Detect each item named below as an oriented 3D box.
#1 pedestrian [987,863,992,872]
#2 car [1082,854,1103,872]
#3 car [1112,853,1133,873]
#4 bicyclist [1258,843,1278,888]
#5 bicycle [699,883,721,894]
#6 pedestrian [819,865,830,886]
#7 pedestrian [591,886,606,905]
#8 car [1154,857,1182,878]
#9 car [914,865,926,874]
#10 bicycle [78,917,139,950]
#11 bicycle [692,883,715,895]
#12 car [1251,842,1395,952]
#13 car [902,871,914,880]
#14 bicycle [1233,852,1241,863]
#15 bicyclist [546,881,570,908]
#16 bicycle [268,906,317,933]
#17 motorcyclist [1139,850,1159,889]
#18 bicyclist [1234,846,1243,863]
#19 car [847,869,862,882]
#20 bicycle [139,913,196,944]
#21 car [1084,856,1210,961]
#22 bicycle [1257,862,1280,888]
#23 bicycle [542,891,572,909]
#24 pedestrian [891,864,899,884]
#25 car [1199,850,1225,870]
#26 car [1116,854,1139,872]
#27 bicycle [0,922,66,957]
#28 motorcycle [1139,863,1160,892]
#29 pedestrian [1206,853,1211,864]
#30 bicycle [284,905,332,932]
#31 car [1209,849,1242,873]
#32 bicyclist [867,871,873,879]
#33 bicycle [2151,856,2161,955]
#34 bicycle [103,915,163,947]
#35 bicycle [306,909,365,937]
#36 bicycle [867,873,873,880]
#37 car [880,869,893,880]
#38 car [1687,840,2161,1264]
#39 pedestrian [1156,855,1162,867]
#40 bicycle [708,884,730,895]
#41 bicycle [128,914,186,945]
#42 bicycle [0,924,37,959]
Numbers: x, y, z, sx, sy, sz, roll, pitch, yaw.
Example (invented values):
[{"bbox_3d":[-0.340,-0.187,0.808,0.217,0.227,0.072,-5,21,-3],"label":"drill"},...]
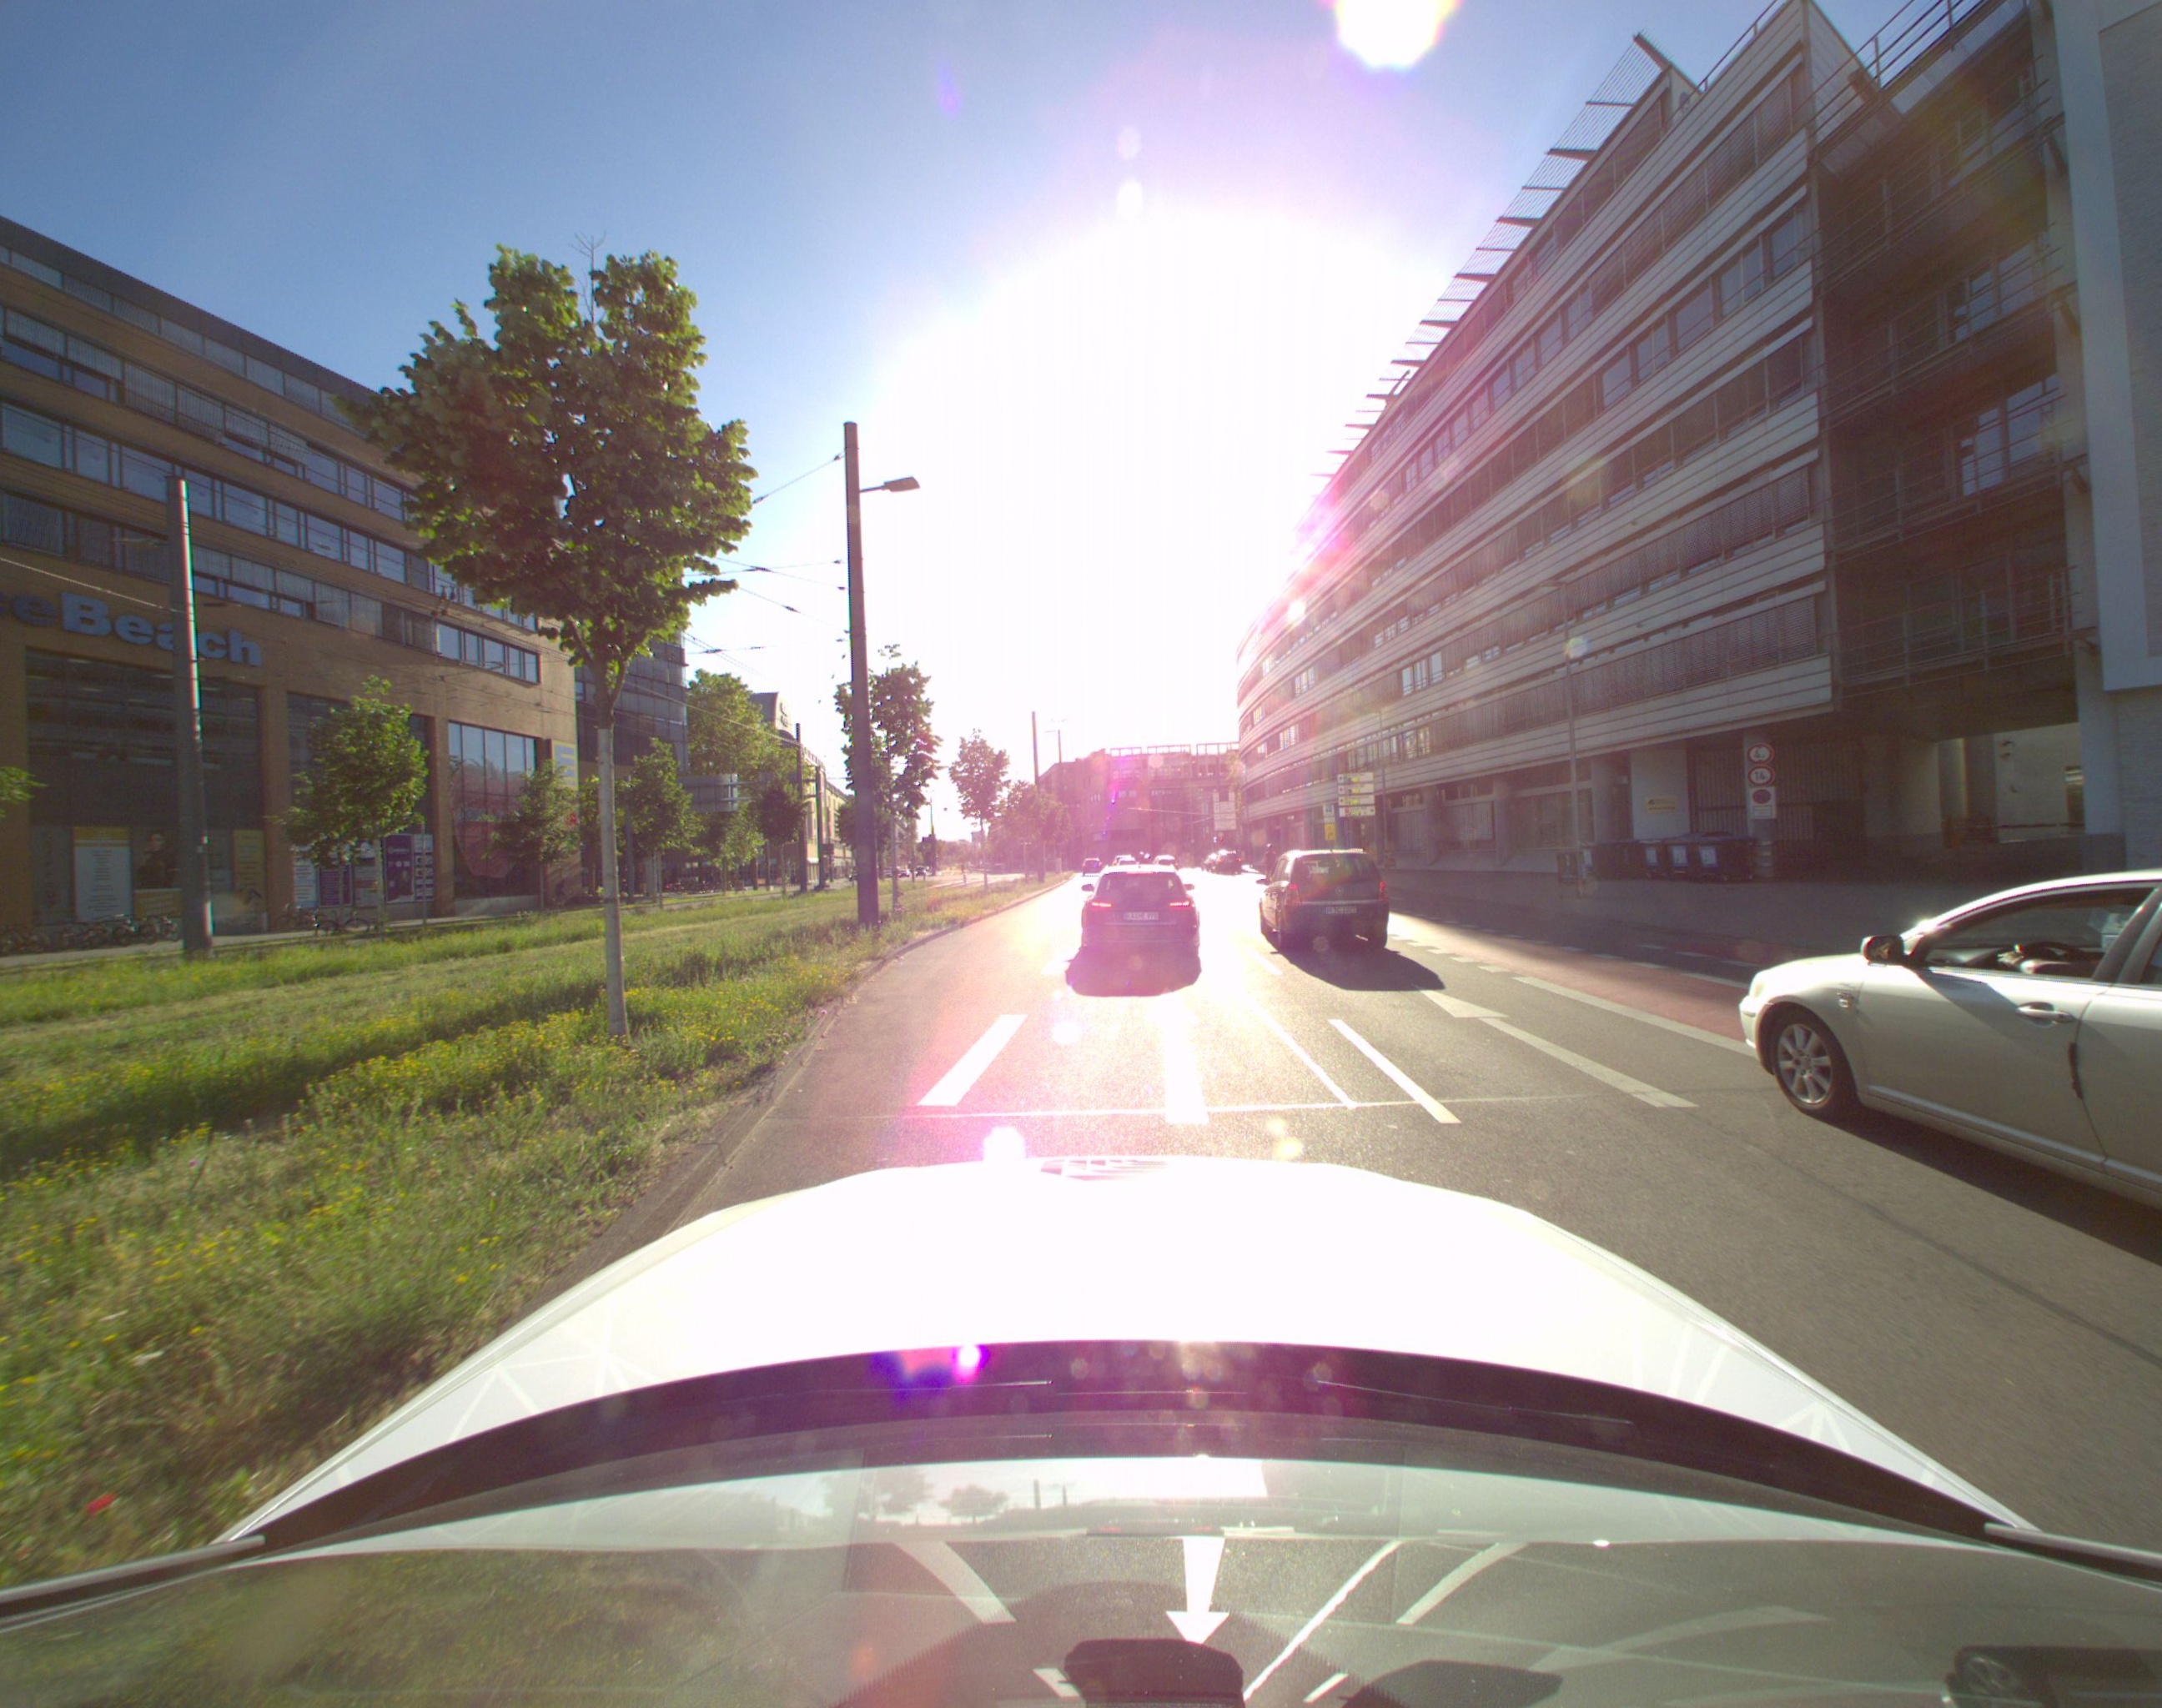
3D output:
[{"bbox_3d":[-17.003,2.489,151.066,0.742,1.640,0.764,-3,-1,-12],"label":"pedestrian"},{"bbox_3d":[1.043,0.765,70.182,1.643,1.433,4.002,-3,0,2],"label":"car"},{"bbox_3d":[3.609,0.755,71.050,1.730,1.651,4.002,-3,0,2],"label":"car"},{"bbox_3d":[7.790,0.475,33.983,0.575,1.791,0.864,-3,0,2],"label":"bicyclist"},{"bbox_3d":[-34.249,3.175,75.159,1.775,0.951,0.537,-2,-1,-26],"label":"bicycle"},{"bbox_3d":[-25.025,2.130,79.452,0.729,2.014,0.839,-1,-1,6],"label":"pedestrian"},{"bbox_3d":[-42.568,3.646,71.866,0.729,1.645,0.839,-3,-1,6],"label":"pedestrian"},{"bbox_3d":[6.407,0.967,60.226,1.800,1.457,4.002,-2,0,2],"label":"car"},{"bbox_3d":[-28.061,2.726,142.117,1.748,1.505,3.859,-3,0,-16],"label":"car"},{"bbox_3d":[-34.081,2.795,28.542,1.755,1.049,0.492,-3,-1,8],"label":"bicycle"},{"bbox_3d":[-34.287,3.157,73.988,1.768,0.951,0.539,-3,-1,-14],"label":"bicycle"},{"bbox_3d":[4.184,0.676,14.785,1.679,1.629,4.470,-3,0,6],"label":"car"},{"bbox_3d":[-30.468,3.777,143.053,1.748,1.505,3.859,-3,0,-16],"label":"car"},{"bbox_3d":[15.058,0.314,78.761,0.500,1.058,1.709,-5,-1,17],"label":"bicycle"},{"bbox_3d":[-30.087,2.343,46.827,0.676,1.465,1.016,-3,-1,-2],"label":"bicyclist"},{"bbox_3d":[-33.386,2.788,34.500,1.755,1.049,0.492,-3,-1,8],"label":"bicycle"},{"bbox_3d":[2.783,0.625,33.306,0.741,1.530,1.022,-3,0,5],"label":"motorcyclist"},{"bbox_3d":[15.272,0.004,78.914,0.678,1.618,0.996,-3,0,17],"label":"bicyclist"},{"bbox_3d":[-38.921,3.683,139.983,1.995,2.013,3.983,-3,0,-12],"label":"car"},{"bbox_3d":[-34.278,2.781,30.567,1.755,1.049,0.492,-3,-1,8],"label":"bicycle"},{"bbox_3d":[0.990,0.795,14.039,1.805,1.492,4.496,0,0,1],"label":"car"},{"bbox_3d":[7.820,0.872,34.107,0.490,0.997,2.329,-3,0,3],"label":"bicycle"},{"bbox_3d":[-30.082,2.616,46.814,0.496,0.910,1.887,-3,0,-1],"label":"bicycle"},{"bbox_3d":[-17.706,1.908,77.506,0.630,1.830,0.662,-3,-1,-5],"label":"pedestrian"},{"bbox_3d":[11.547,0.534,71.943,1.984,1.651,4.006,-3,0,6],"label":"car"},{"bbox_3d":[3.625,0.685,63.699,1.730,1.349,4.002,-3,0,2],"label":"car"},{"bbox_3d":[-34.268,2.786,26.624,1.755,1.049,0.492,-3,-1,8],"label":"bicycle"},{"bbox_3d":[2.797,0.935,33.440,0.772,1.115,1.971,-3,0,4],"label":"motorcycle"},{"bbox_3d":[17.260,0.654,110.603,0.528,1.430,0.598,-3,0,1],"label":"pedestrian"},{"bbox_3d":[-33.340,2.791,35.125,1.755,1.049,0.492,-3,-1,8],"label":"bicycle"},{"bbox_3d":[11.380,0.547,64.391,1.986,1.750,4.331,-3,0,2],"label":"car"},{"bbox_3d":[-35.398,3.557,136.606,0.757,1.375,0.948,-3,0,-8],"label":"bicyclist"},{"bbox_3d":[11.374,0.527,7.444,0.496,1.032,2.211,-3,0,8],"label":"bicycle"},{"bbox_3d":[-33.986,2.765,29.192,1.755,1.049,0.492,-3,-1,8],"label":"bicycle"},{"bbox_3d":[-27.164,2.513,29.702,0.461,0.868,1.772,-3,0,1],"label":"bicycle"},{"bbox_3d":[-35.388,3.844,136.542,0.649,1.085,2.918,-3,0,-8],"label":"bicycle"},{"bbox_3d":[-34.158,3.587,142.856,1.995,1.596,4.719,-3,0,-12],"label":"car"},{"bbox_3d":[4.694,0.685,3.202,1.741,1.431,4.499,-3,0,8],"label":"car"},{"bbox_3d":[11.860,1.125,124.376,0.700,1.759,0.564,-3,-1,26],"label":"pedestrian"},{"bbox_3d":[-34.385,3.334,77.368,1.763,0.951,0.540,-3,-1,-6],"label":"bicycle"},{"bbox_3d":[-33.941,2.769,29.904,1.755,1.049,0.492,-3,-1,8],"label":"bicycle"},{"bbox_3d":[-34.324,2.793,25.920,1.755,1.049,0.492,-3,-1,8],"label":"bicycle"}]
